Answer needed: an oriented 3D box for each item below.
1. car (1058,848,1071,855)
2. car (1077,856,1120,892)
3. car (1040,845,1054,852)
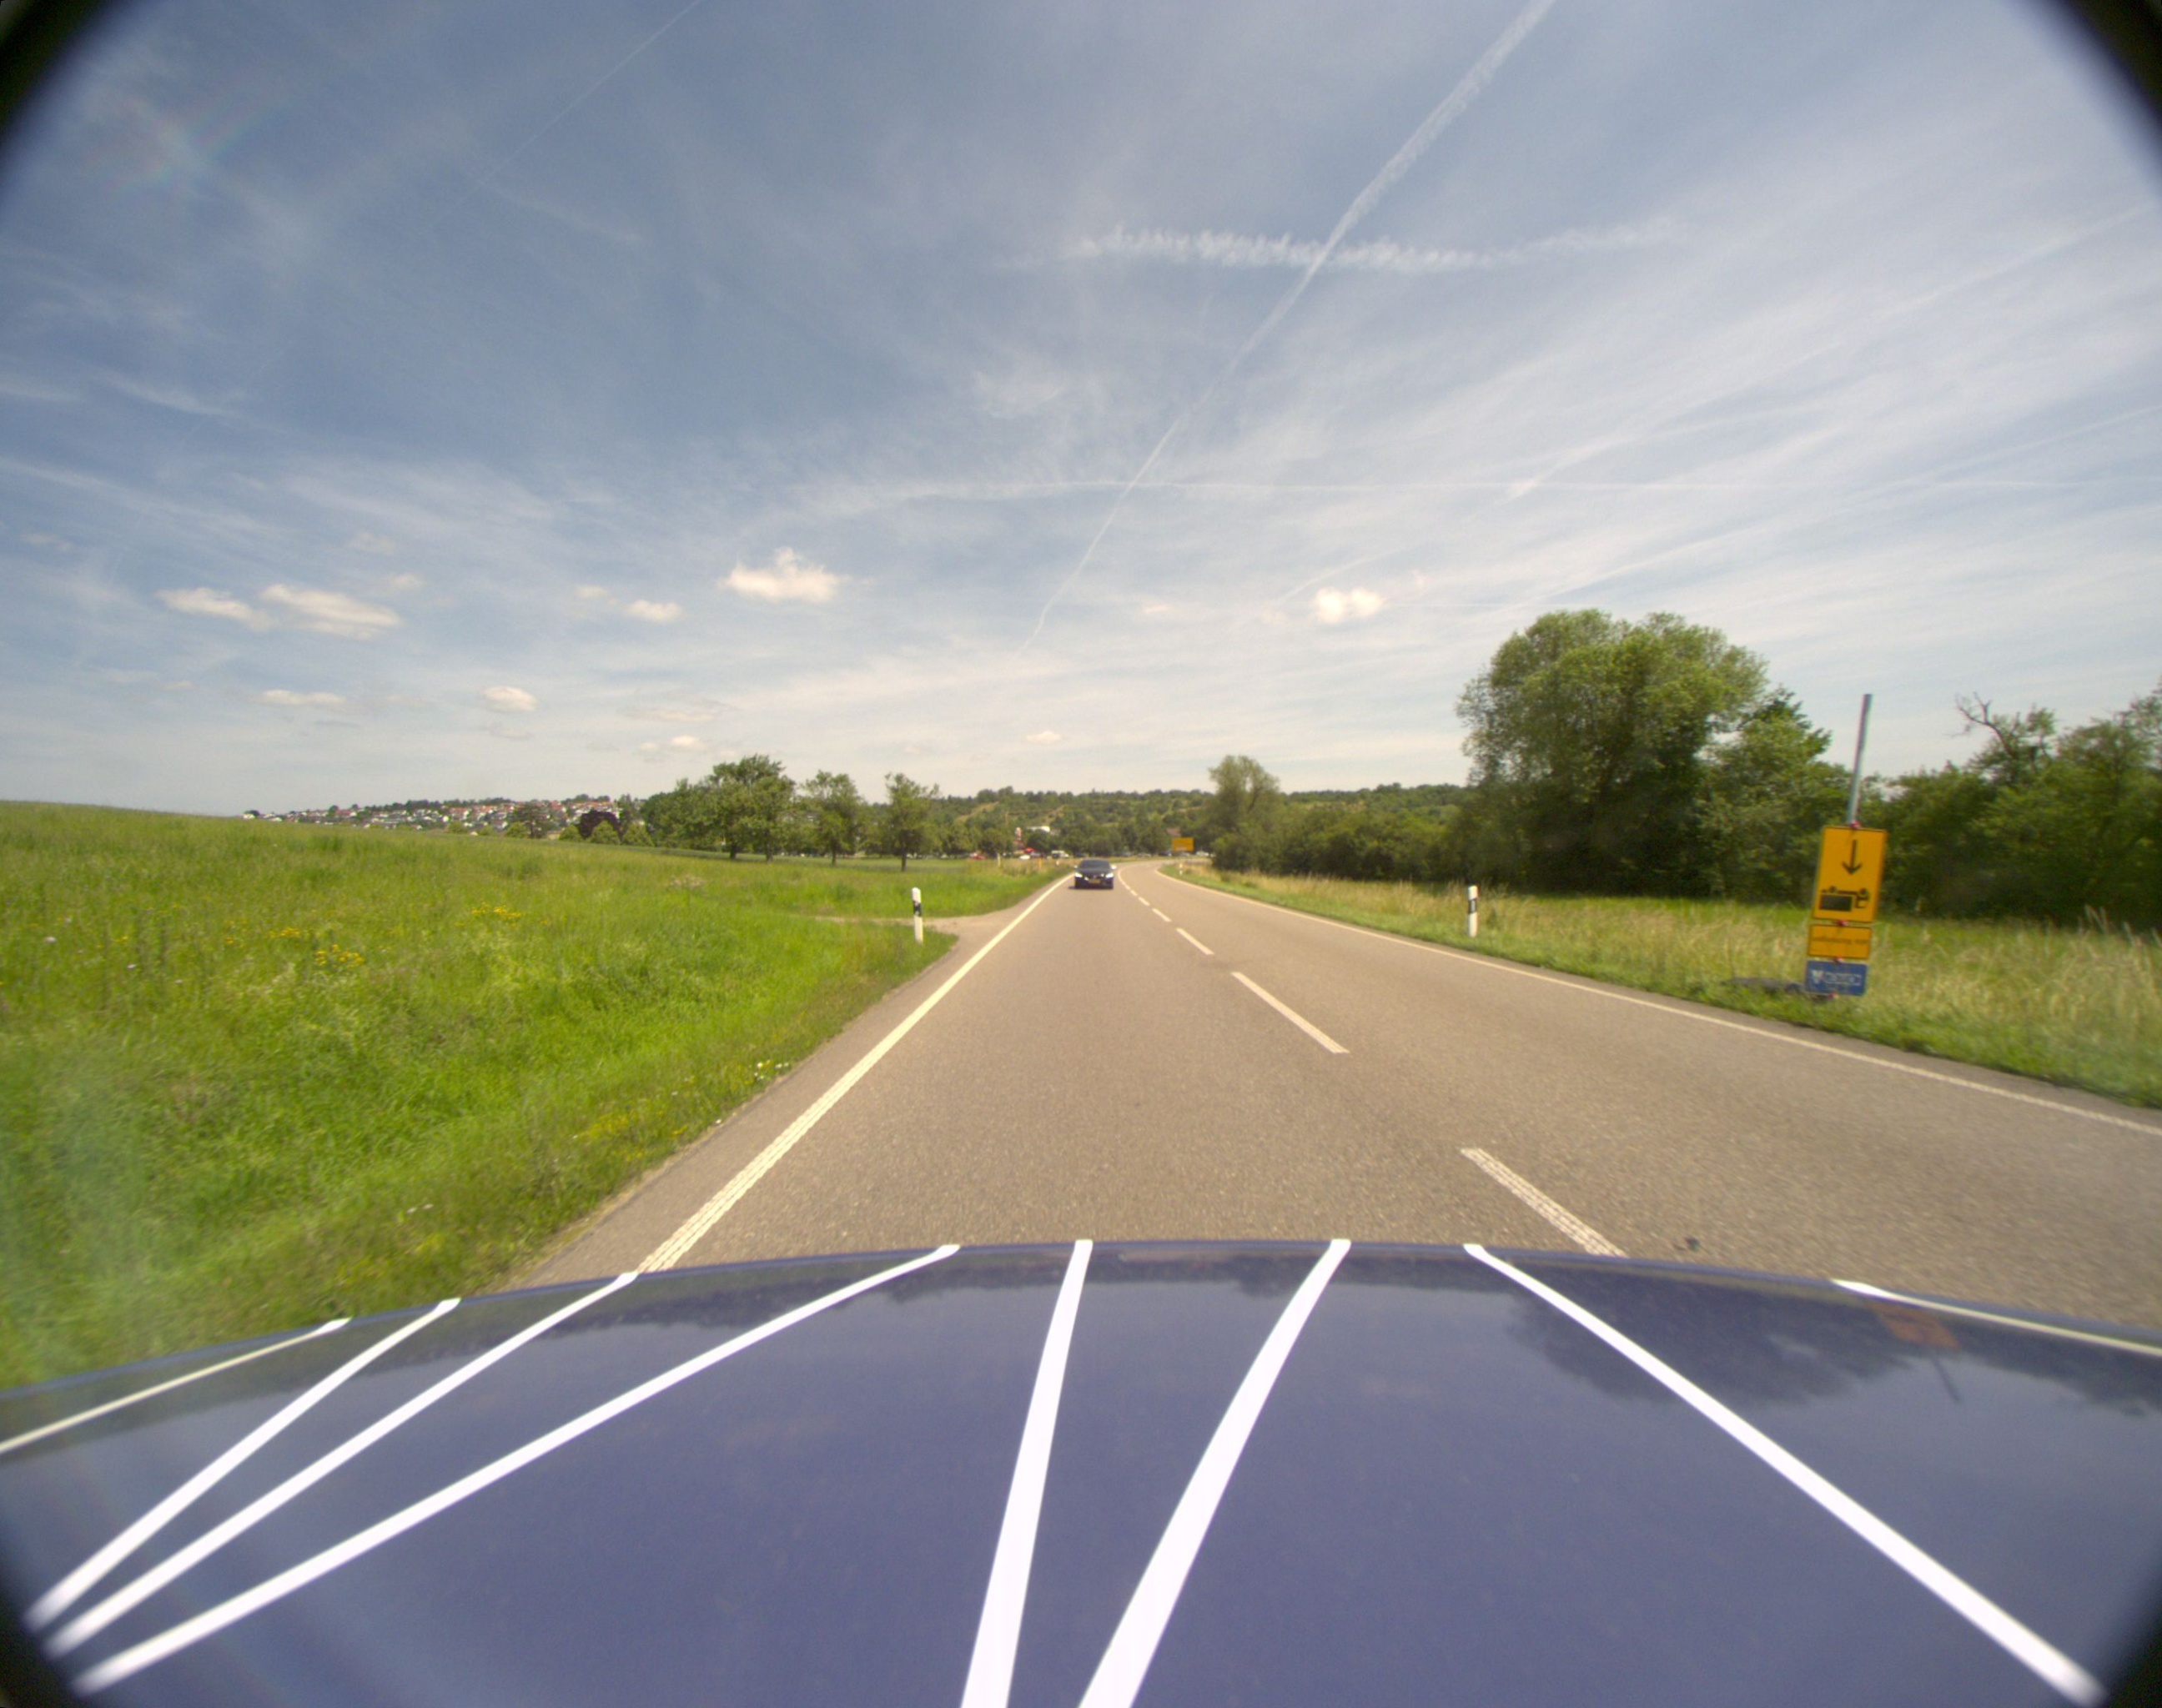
[{"bbox_3d":[-5.287,-0.876,247.329,3.997,2.002,1.887,1,1,0],"label":"car"},{"bbox_3d":[0.784,0.861,34.613,1.785,1.440,4.604,1,1,1],"label":"car"},{"bbox_3d":[-11.079,-1.843,248.113,4.469,2.002,1.887,1,1,-2],"label":"car"}]
